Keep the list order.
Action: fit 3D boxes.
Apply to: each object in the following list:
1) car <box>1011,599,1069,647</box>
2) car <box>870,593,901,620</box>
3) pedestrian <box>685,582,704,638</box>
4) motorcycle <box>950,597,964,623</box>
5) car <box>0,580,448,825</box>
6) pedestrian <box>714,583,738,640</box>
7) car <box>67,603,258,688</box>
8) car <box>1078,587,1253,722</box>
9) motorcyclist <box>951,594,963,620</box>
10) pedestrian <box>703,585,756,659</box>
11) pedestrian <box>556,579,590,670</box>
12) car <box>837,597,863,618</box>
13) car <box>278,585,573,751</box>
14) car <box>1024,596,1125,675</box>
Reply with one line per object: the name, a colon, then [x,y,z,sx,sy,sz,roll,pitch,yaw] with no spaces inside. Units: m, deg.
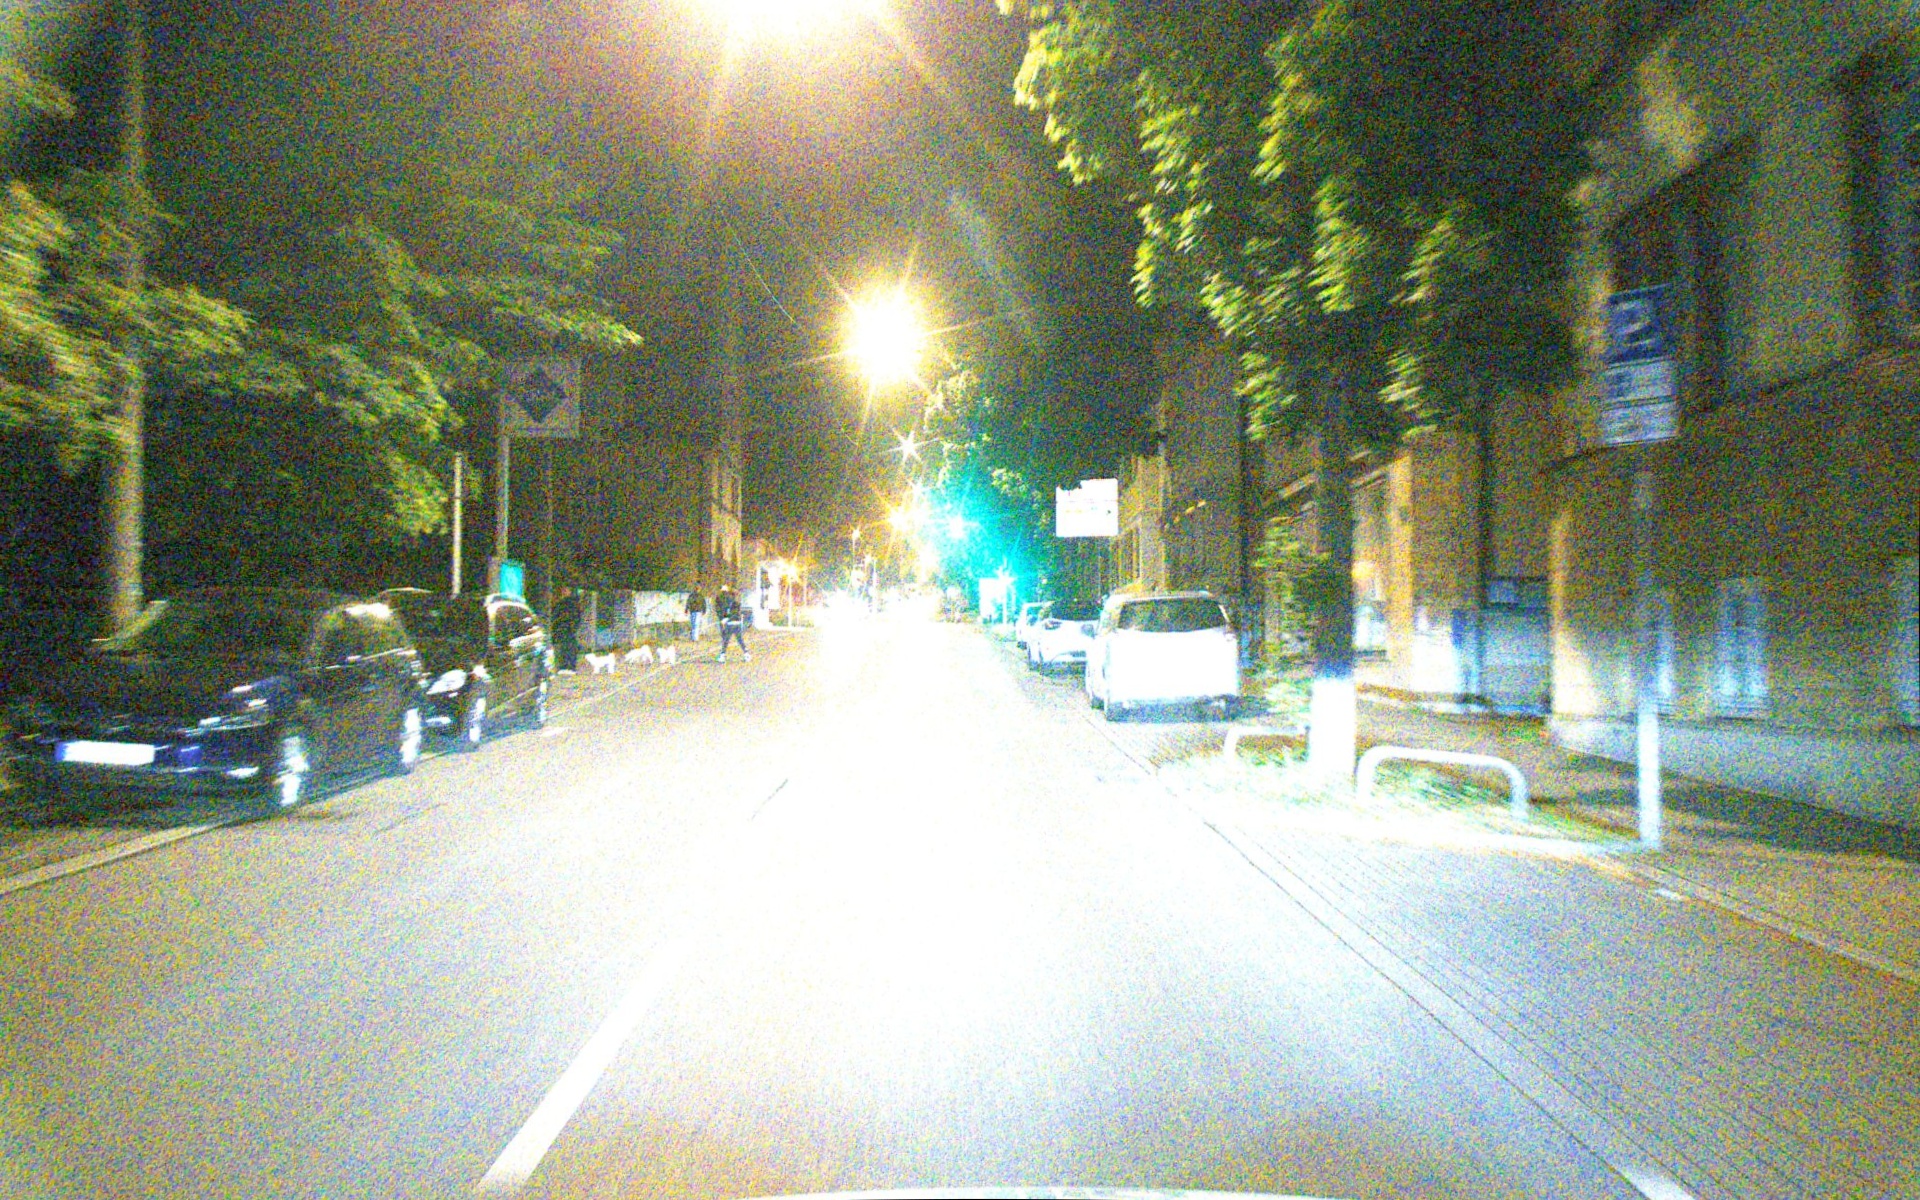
car: [2.641,0.754,55.221,1.596,1.522,3.413,1,0,-2]
car: [-5.103,0.451,113.741,1.905,1.747,3.999,1,-1,-1]
pedestrian: [-8.394,0.326,52.262,0.559,1.729,0.927,1,-1,-10]
motorcycle: [-0.226,0.713,116.720,0.912,1.783,2.624,1,-1,0]
car: [-5.234,0.625,12.191,1.686,1.463,4.189,1,0,-2]
pedestrian: [-7.427,0.366,52.544,0.705,1.796,0.602,1,-1,-9]
car: [-14.991,0.836,31.085,3.197,1.478,1.790,0,-1,32]
car: [2.681,0.658,22.504,1.775,1.622,4.273,-1,0,-1]
motorcyclist: [-0.225,0.507,116.731,0.831,1.783,0.805,1,-1,-1]
pedestrian: [-5.579,0.529,39.994,0.752,1.729,0.923,3,0,37]
pedestrian: [-7.524,0.476,32.147,0.570,1.729,0.530,1,-1,-9]
car: [-8.181,0.554,123.283,1.680,1.483,3.921,1,-1,-1]
car: [-5.423,0.599,17.451,1.686,1.462,4.808,1,1,-2]
car: [2.421,0.724,35.850,1.830,1.553,4.149,-1,0,-1]
